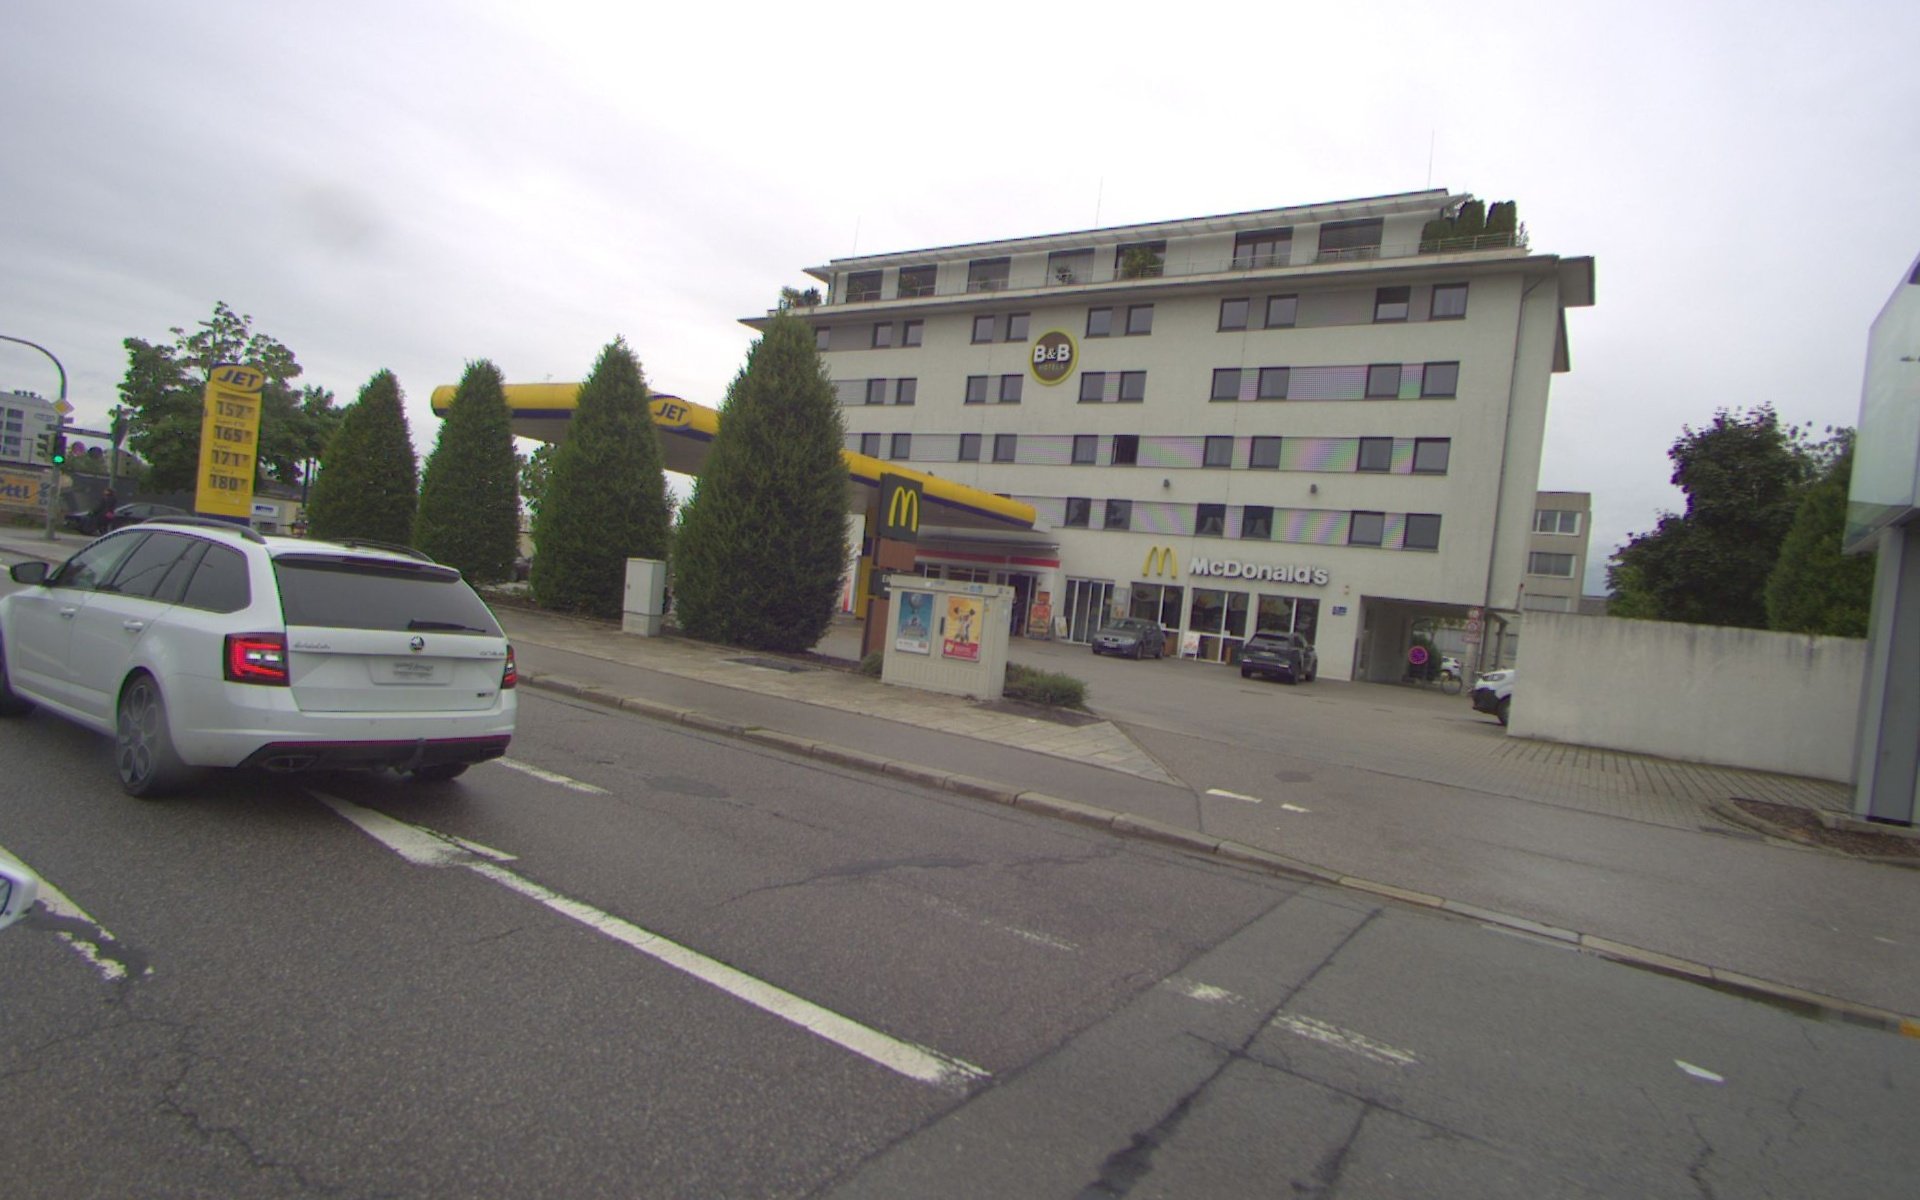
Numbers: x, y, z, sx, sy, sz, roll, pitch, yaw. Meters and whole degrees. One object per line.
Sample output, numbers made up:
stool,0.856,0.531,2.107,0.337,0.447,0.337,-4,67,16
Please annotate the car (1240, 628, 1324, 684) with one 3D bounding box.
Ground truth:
car,10.982,1.925,34.134,1.678,1.606,3.992,7,0,31

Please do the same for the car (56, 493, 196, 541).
car,-35.911,-3.548,43.426,1.969,1.446,4.250,7,0,36

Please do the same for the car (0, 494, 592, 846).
car,-4.713,0.258,6.596,4.427,1.485,1.881,7,-1,32

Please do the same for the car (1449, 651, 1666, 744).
car,13.354,2.145,22.637,3.935,1.456,1.827,7,-1,33

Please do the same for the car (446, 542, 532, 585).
car,-21.956,-1.719,46.885,3.912,1.504,1.626,7,-1,32

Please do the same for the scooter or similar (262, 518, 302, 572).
scooter or similar,-17.254,-1.405,25.595,1.522,1.259,0.355,7,3,38

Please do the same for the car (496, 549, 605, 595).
car,-17.613,-1.222,43.282,4.284,1.400,1.704,7,-1,23

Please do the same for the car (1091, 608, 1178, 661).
car,6.452,1.305,36.833,1.678,1.606,3.992,7,0,31

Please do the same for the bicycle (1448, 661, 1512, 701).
bicycle,17.960,2.804,34.772,1.841,1.129,0.449,7,0,24

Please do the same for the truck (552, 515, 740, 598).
truck,-19.470,-2.598,63.602,2.569,3.904,11.896,7,0,36

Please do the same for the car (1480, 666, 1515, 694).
car,41.362,6.149,77.356,1.967,1.837,3.993,7,-1,32

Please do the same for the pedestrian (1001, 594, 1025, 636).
pedestrian,2.358,0.682,45.028,0.632,1.749,0.708,7,0,29
